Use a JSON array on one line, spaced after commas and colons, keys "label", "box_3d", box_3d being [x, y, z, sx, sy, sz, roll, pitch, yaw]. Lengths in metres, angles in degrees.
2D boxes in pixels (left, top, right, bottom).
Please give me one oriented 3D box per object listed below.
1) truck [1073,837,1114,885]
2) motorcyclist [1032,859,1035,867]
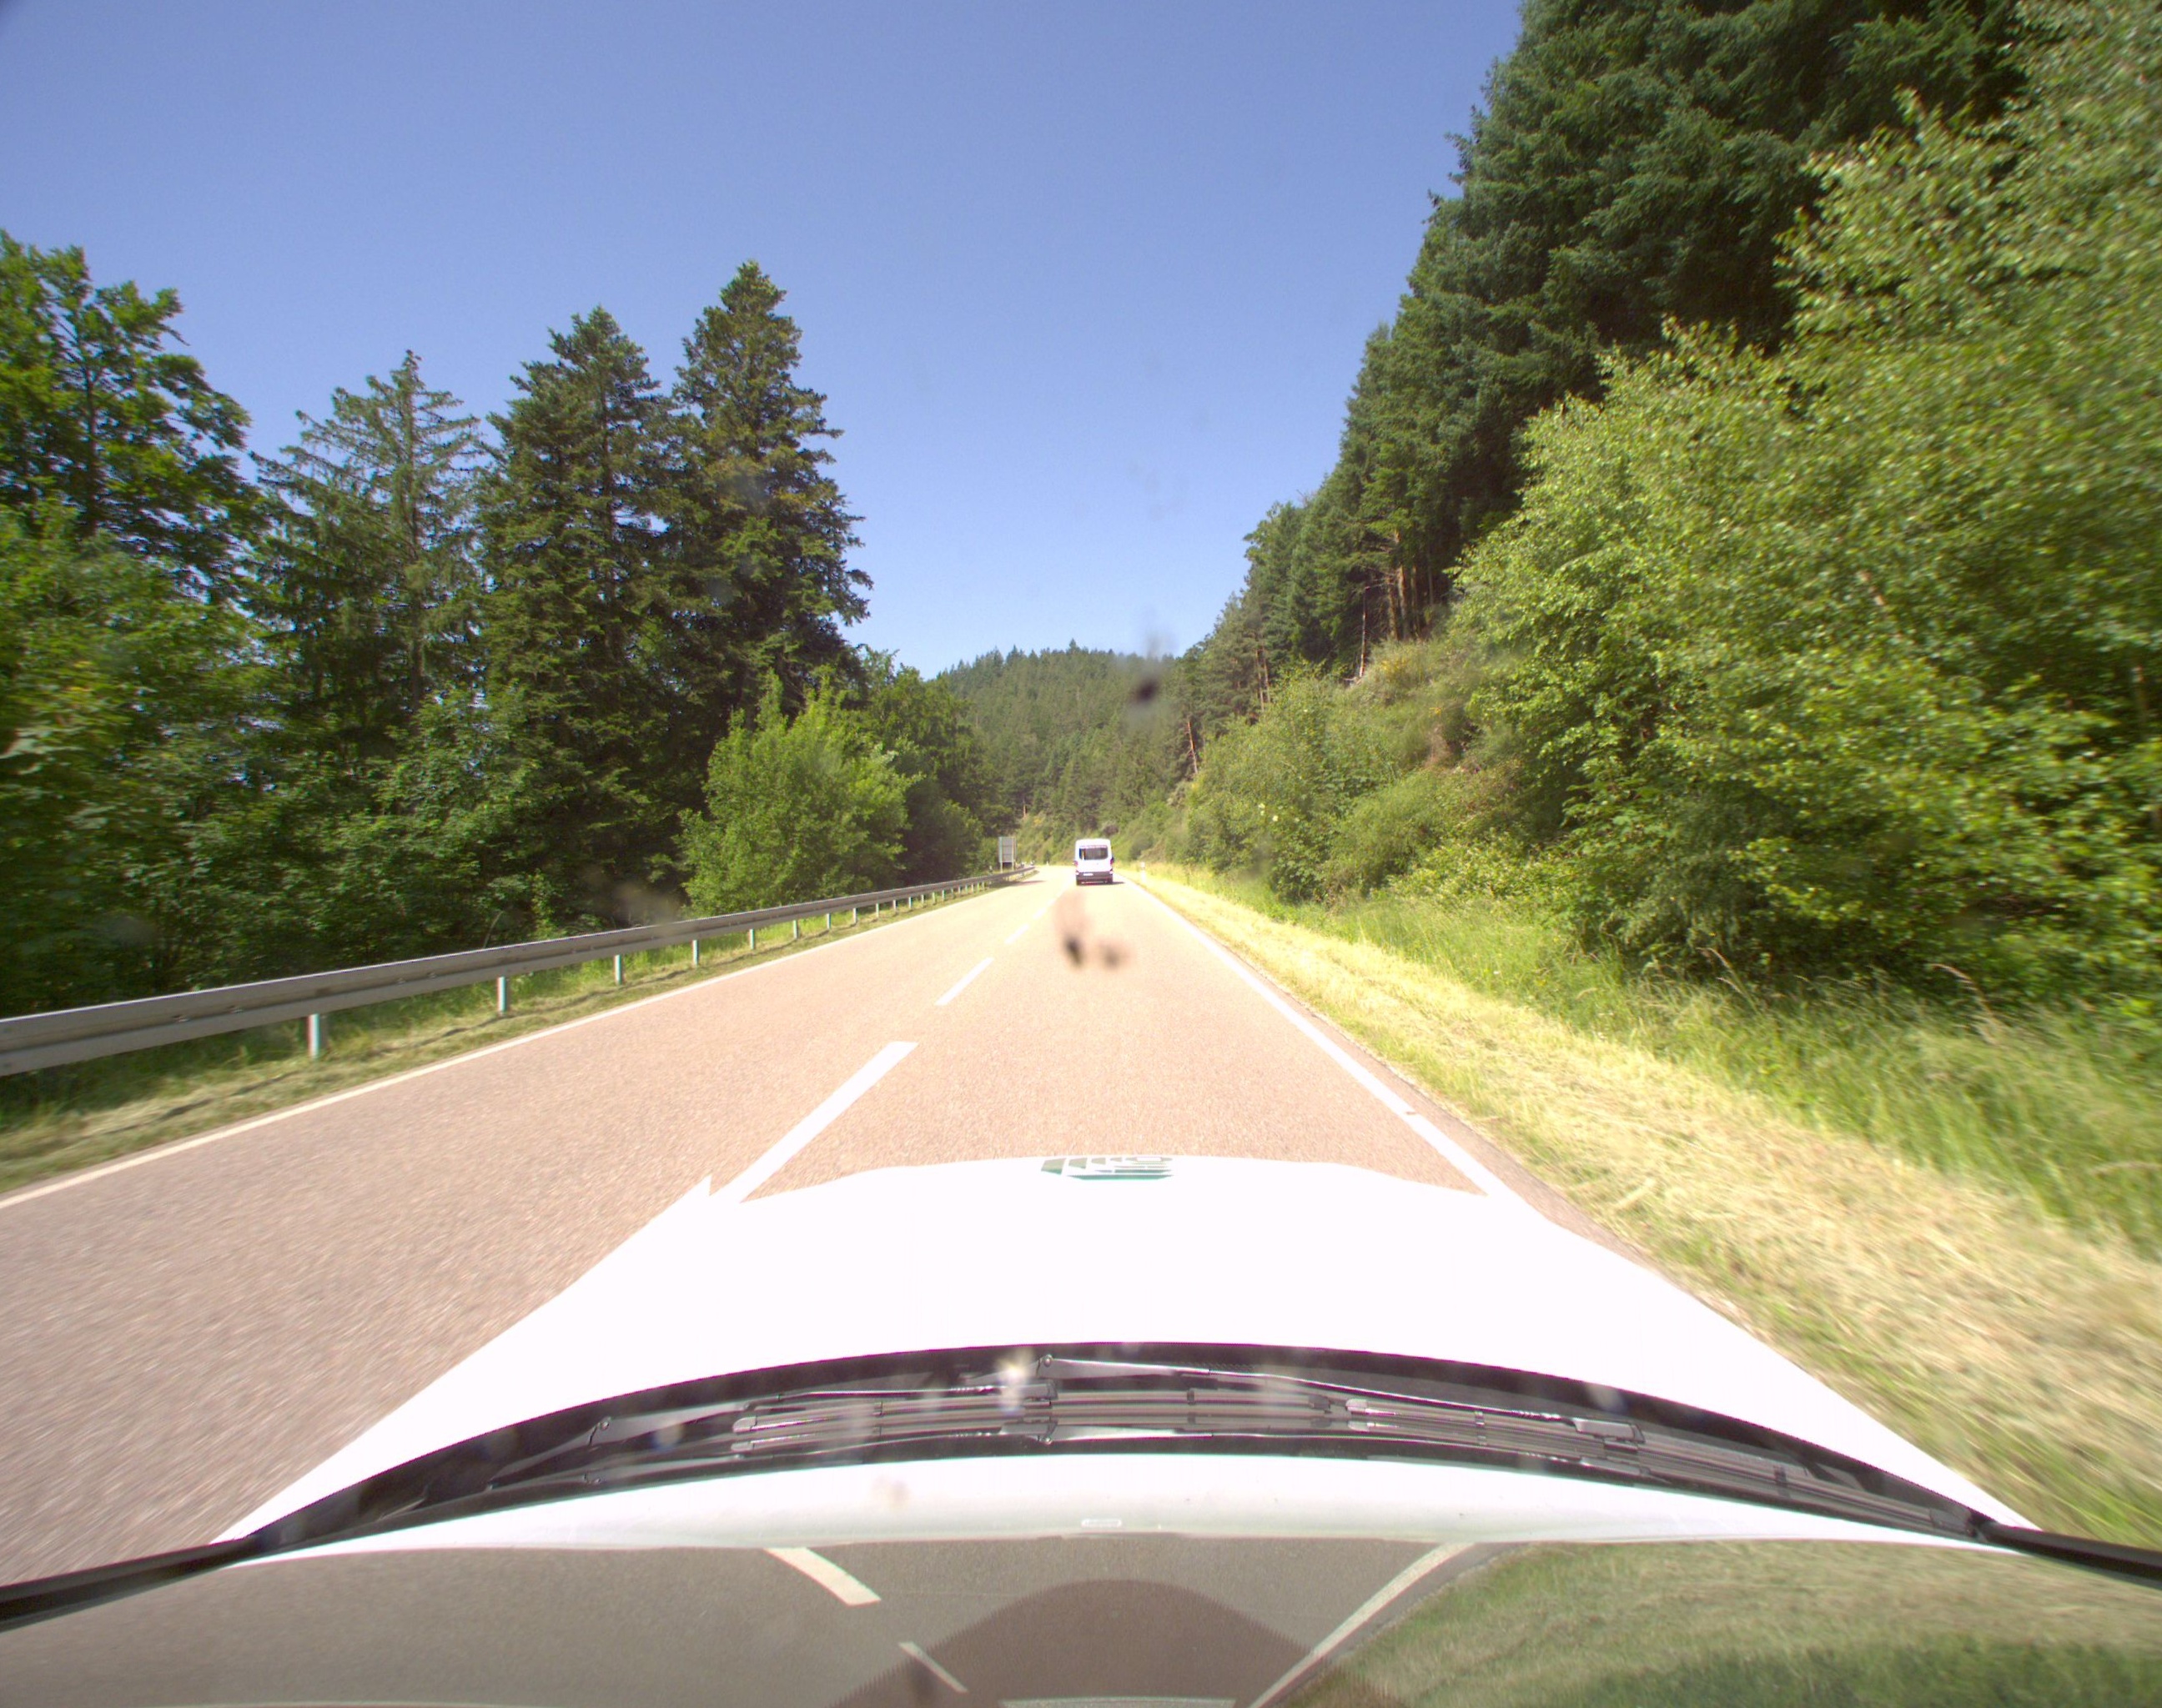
[{"label": "truck", "box_3d": [0.673, 0.407, 45.387, 2.076, 2.459, 4.874, -2, 0, 0]}, {"label": "motorcyclist", "box_3d": [-9.564, 1.785, 164.037, 0.656, 1.513, 0.933, -3, 0, -2]}]
